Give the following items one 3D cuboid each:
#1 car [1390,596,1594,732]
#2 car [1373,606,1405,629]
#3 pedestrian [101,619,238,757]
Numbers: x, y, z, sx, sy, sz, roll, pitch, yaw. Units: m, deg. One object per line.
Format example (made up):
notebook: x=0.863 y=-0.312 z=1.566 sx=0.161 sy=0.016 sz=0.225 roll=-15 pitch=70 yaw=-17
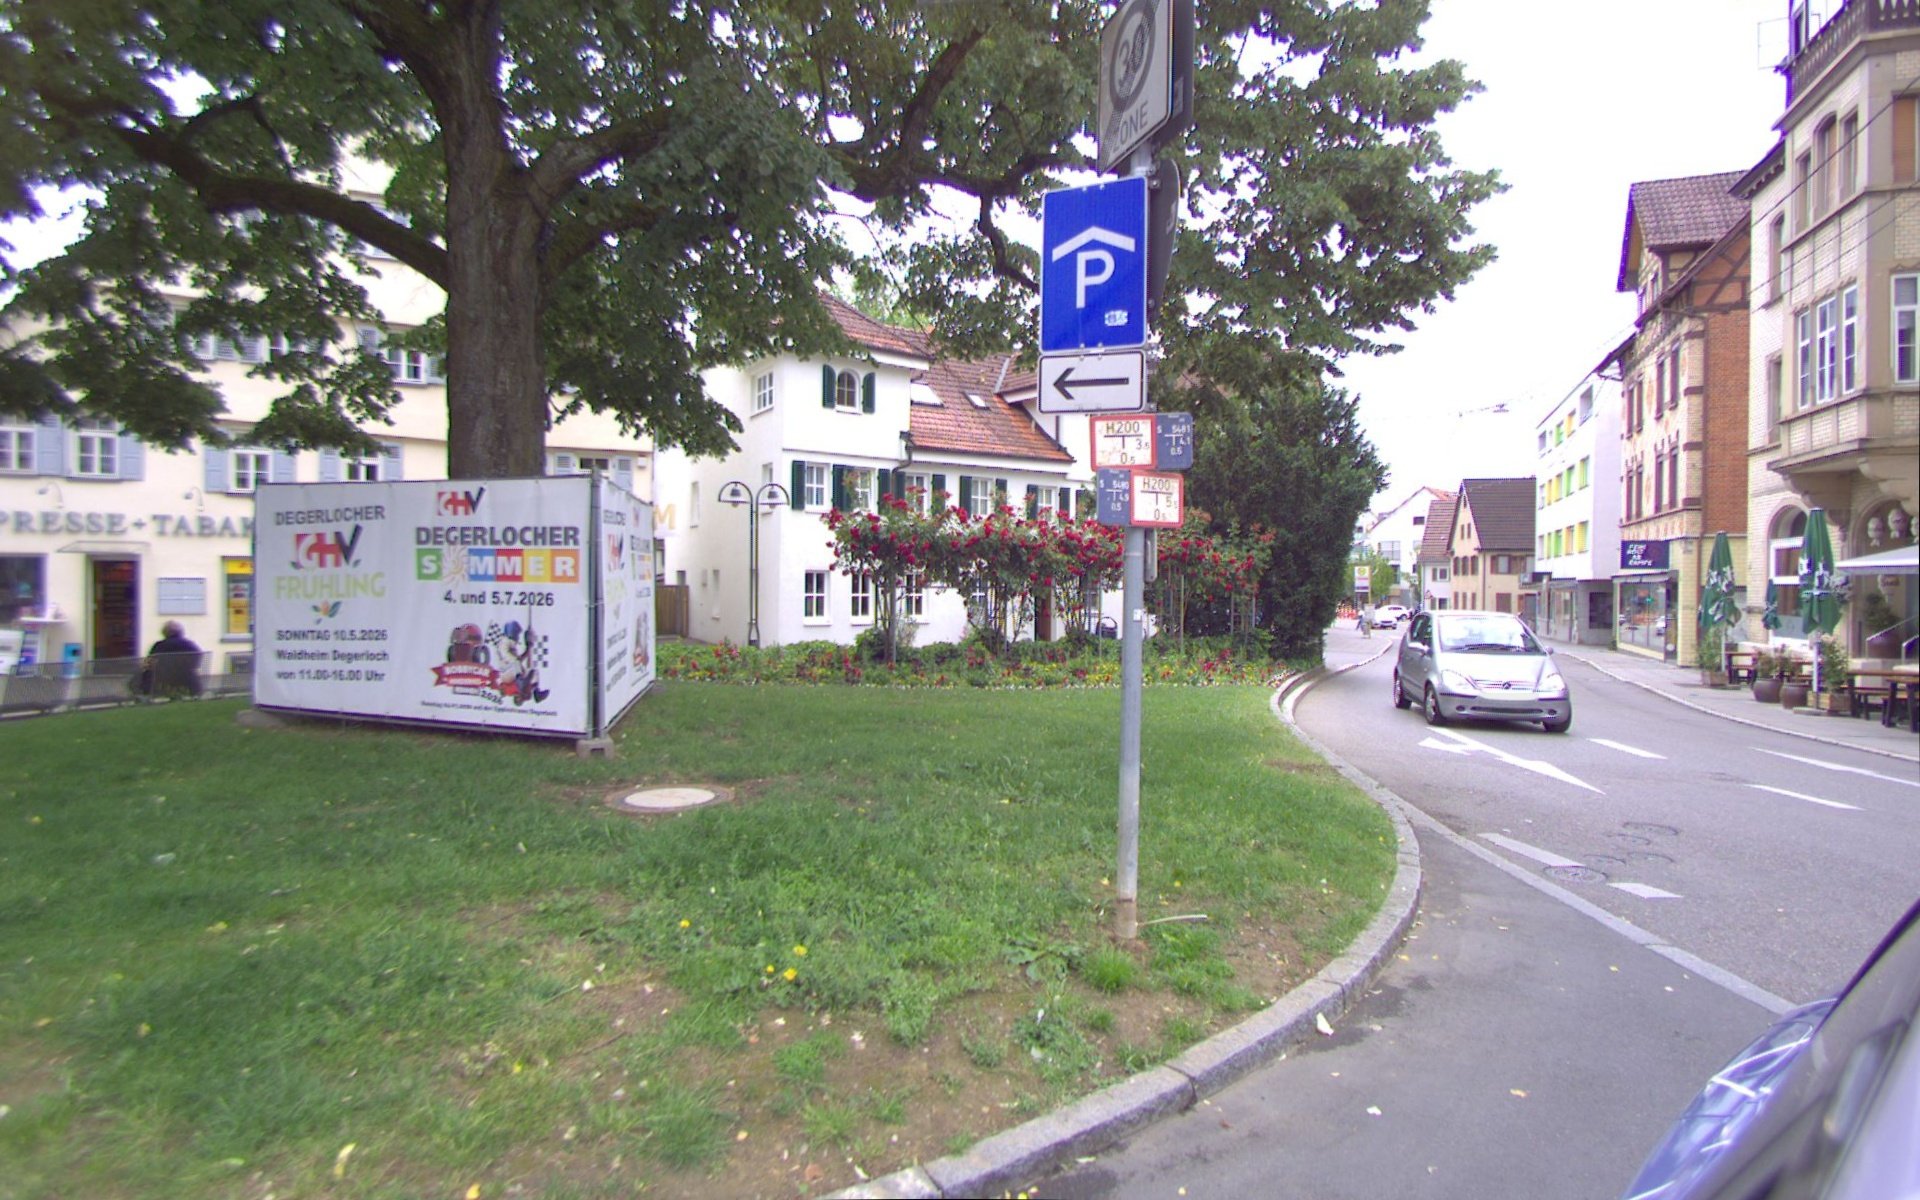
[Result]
car: x=7.643 y=0.810 z=14.958 sx=1.870 sy=1.648 sz=3.979 roll=2 pitch=0 yaw=17
car: x=32.869 y=1.346 z=77.637 sx=1.977 sy=1.648 sz=3.974 roll=0 pitch=1 yaw=20
pedestrian: x=-8.674 y=0.926 z=11.121 sx=0.851 sy=1.398 sz=0.964 roll=0 pitch=0 yaw=32
